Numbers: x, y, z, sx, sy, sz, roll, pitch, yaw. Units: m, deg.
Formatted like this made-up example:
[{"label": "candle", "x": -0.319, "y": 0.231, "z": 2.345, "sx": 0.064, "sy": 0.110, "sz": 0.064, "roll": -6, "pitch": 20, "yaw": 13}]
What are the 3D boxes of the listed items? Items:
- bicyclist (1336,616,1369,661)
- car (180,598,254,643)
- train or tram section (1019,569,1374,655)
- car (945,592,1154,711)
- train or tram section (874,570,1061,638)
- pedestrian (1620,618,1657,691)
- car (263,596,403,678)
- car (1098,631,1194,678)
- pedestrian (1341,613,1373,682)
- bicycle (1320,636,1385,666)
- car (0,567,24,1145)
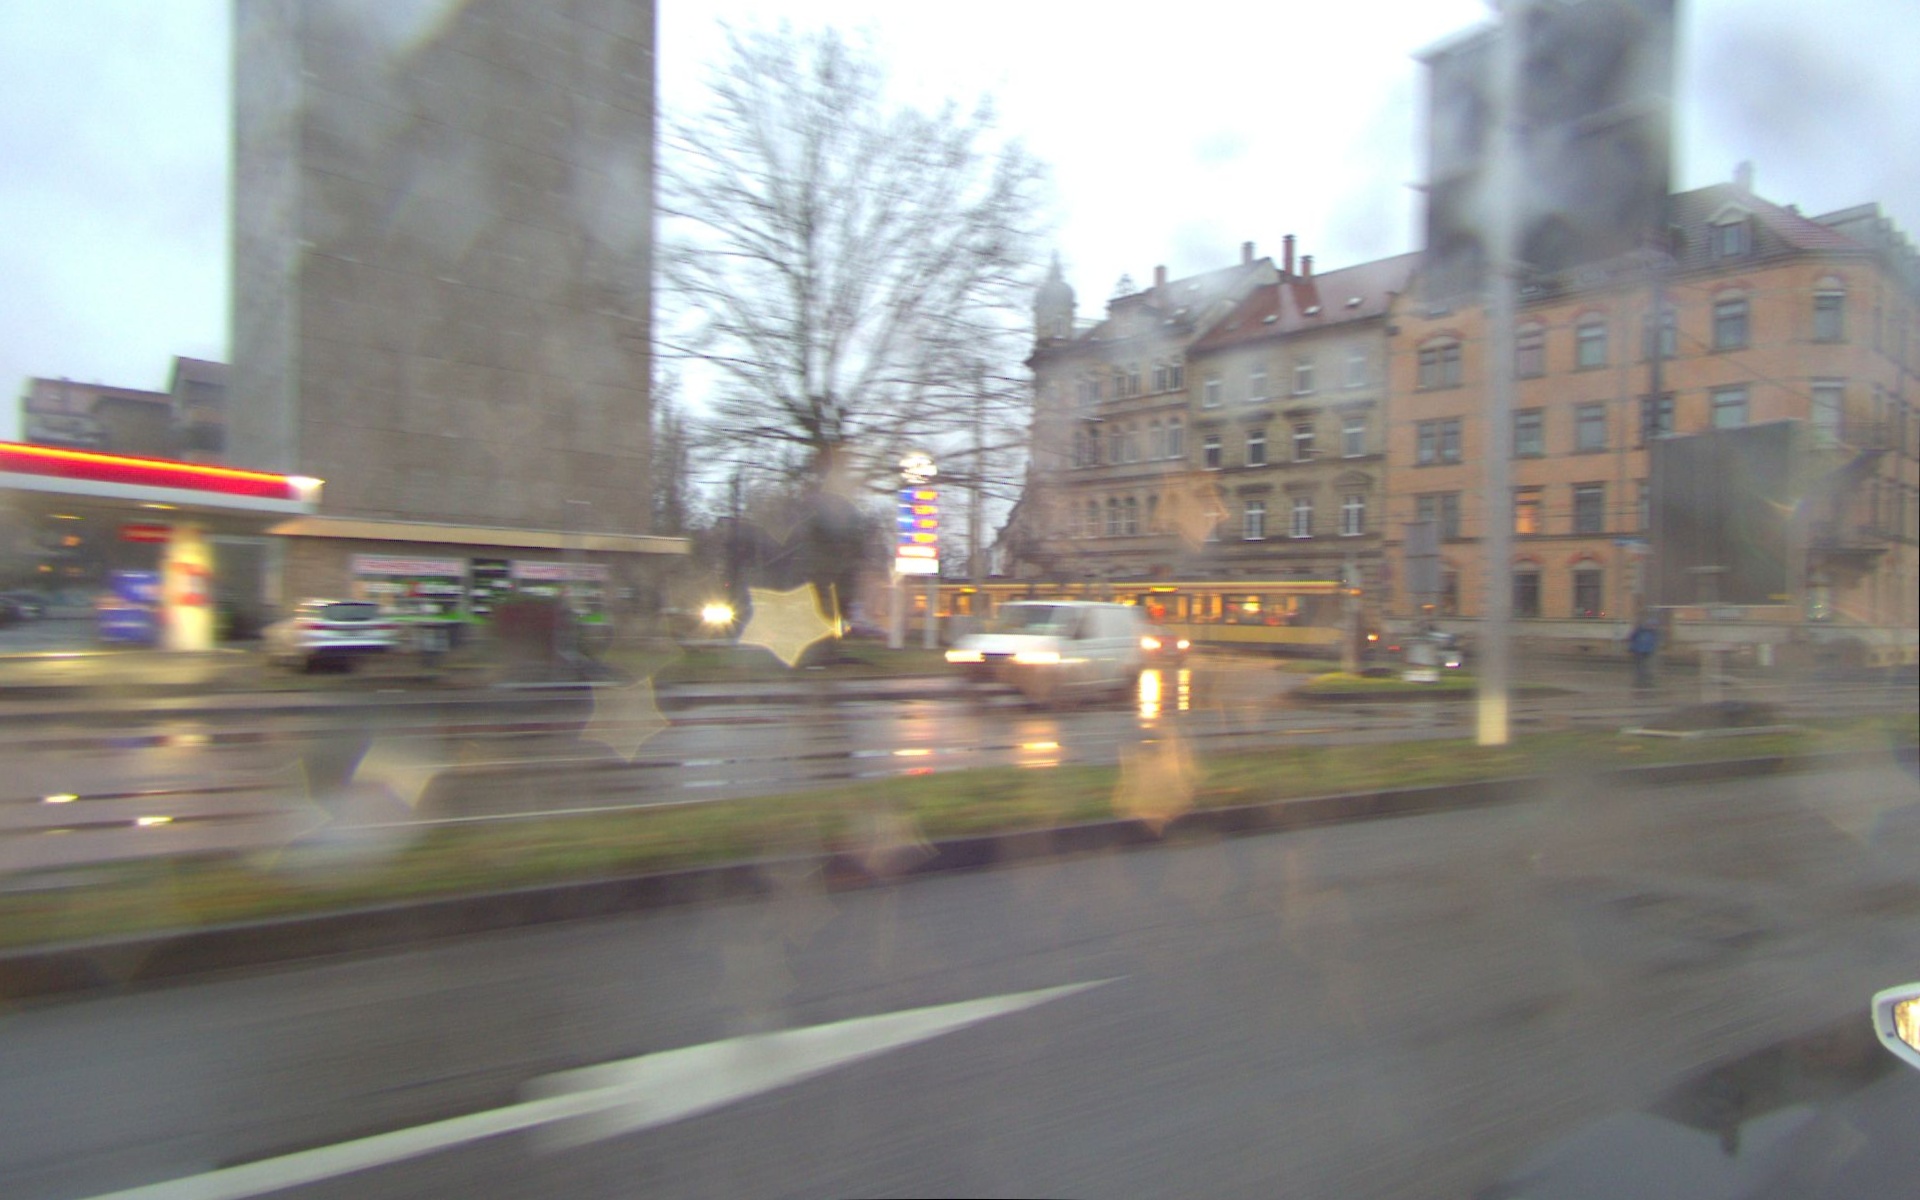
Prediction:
[{"label": "bicyclist", "x": 12.858, "y": 1.248, "z": 32.870, "sx": 0.951, "sy": 1.409, "sz": 0.506, "roll": 1, "pitch": 1, "yaw": 26}, {"label": "car", "x": -27.284, "y": 0.743, "z": 36.825, "sx": 1.983, "sy": 1.550, "sz": 3.955, "roll": 2, "pitch": -1, "yaw": -39}, {"label": "train or tram section", "x": 9.785, "y": 0.303, "z": 44.919, "sx": 16.084, "sy": 3.231, "sz": 3.150, "roll": 2, "pitch": 1, "yaw": 44}, {"label": "car", "x": 1.862, "y": 0.960, "z": 19.149, "sx": 1.966, "sy": 1.971, "sz": 4.843, "roll": -2, "pitch": -3, "yaw": 32}, {"label": "train or tram section", "x": 0.132, "y": 0.114, "z": 54.371, "sx": 10.998, "sy": 3.281, "sz": 3.150, "roll": 2, "pitch": 1, "yaw": 44}, {"label": "pedestrian", "x": 17.040, "y": 1.361, "z": 25.220, "sx": 0.618, "sy": 1.795, "sz": 0.467, "roll": 1, "pitch": 0, "yaw": -16}, {"label": "car", "x": -13.187, "y": 0.726, "z": 21.027, "sx": 1.767, "sy": 1.550, "sz": 3.949, "roll": 1, "pitch": -1, "yaw": -43}, {"label": "car", "x": 6.517, "y": 1.908, "z": 35.645, "sx": 1.624, "sy": 1.469, "sz": 3.833, "roll": 1, "pitch": 0, "yaw": -20}, {"label": "pedestrian", "x": 10.607, "y": 1.257, "z": 26.824, "sx": 0.618, "sy": 1.816, "sz": 0.530, "roll": 1, "pitch": 1, "yaw": 40}, {"label": "bicycle", "x": 12.848, "y": 1.660, "z": 32.875, "sx": 1.947, "sy": 0.912, "sz": 0.506, "roll": 1, "pitch": 0, "yaw": 26}, {"label": "car", "x": -3.838, "y": 0.644, "z": 1.025, "sx": 3.956, "sy": 1.507, "sz": 1.617, "roll": 1, "pitch": -1, "yaw": -33}]
